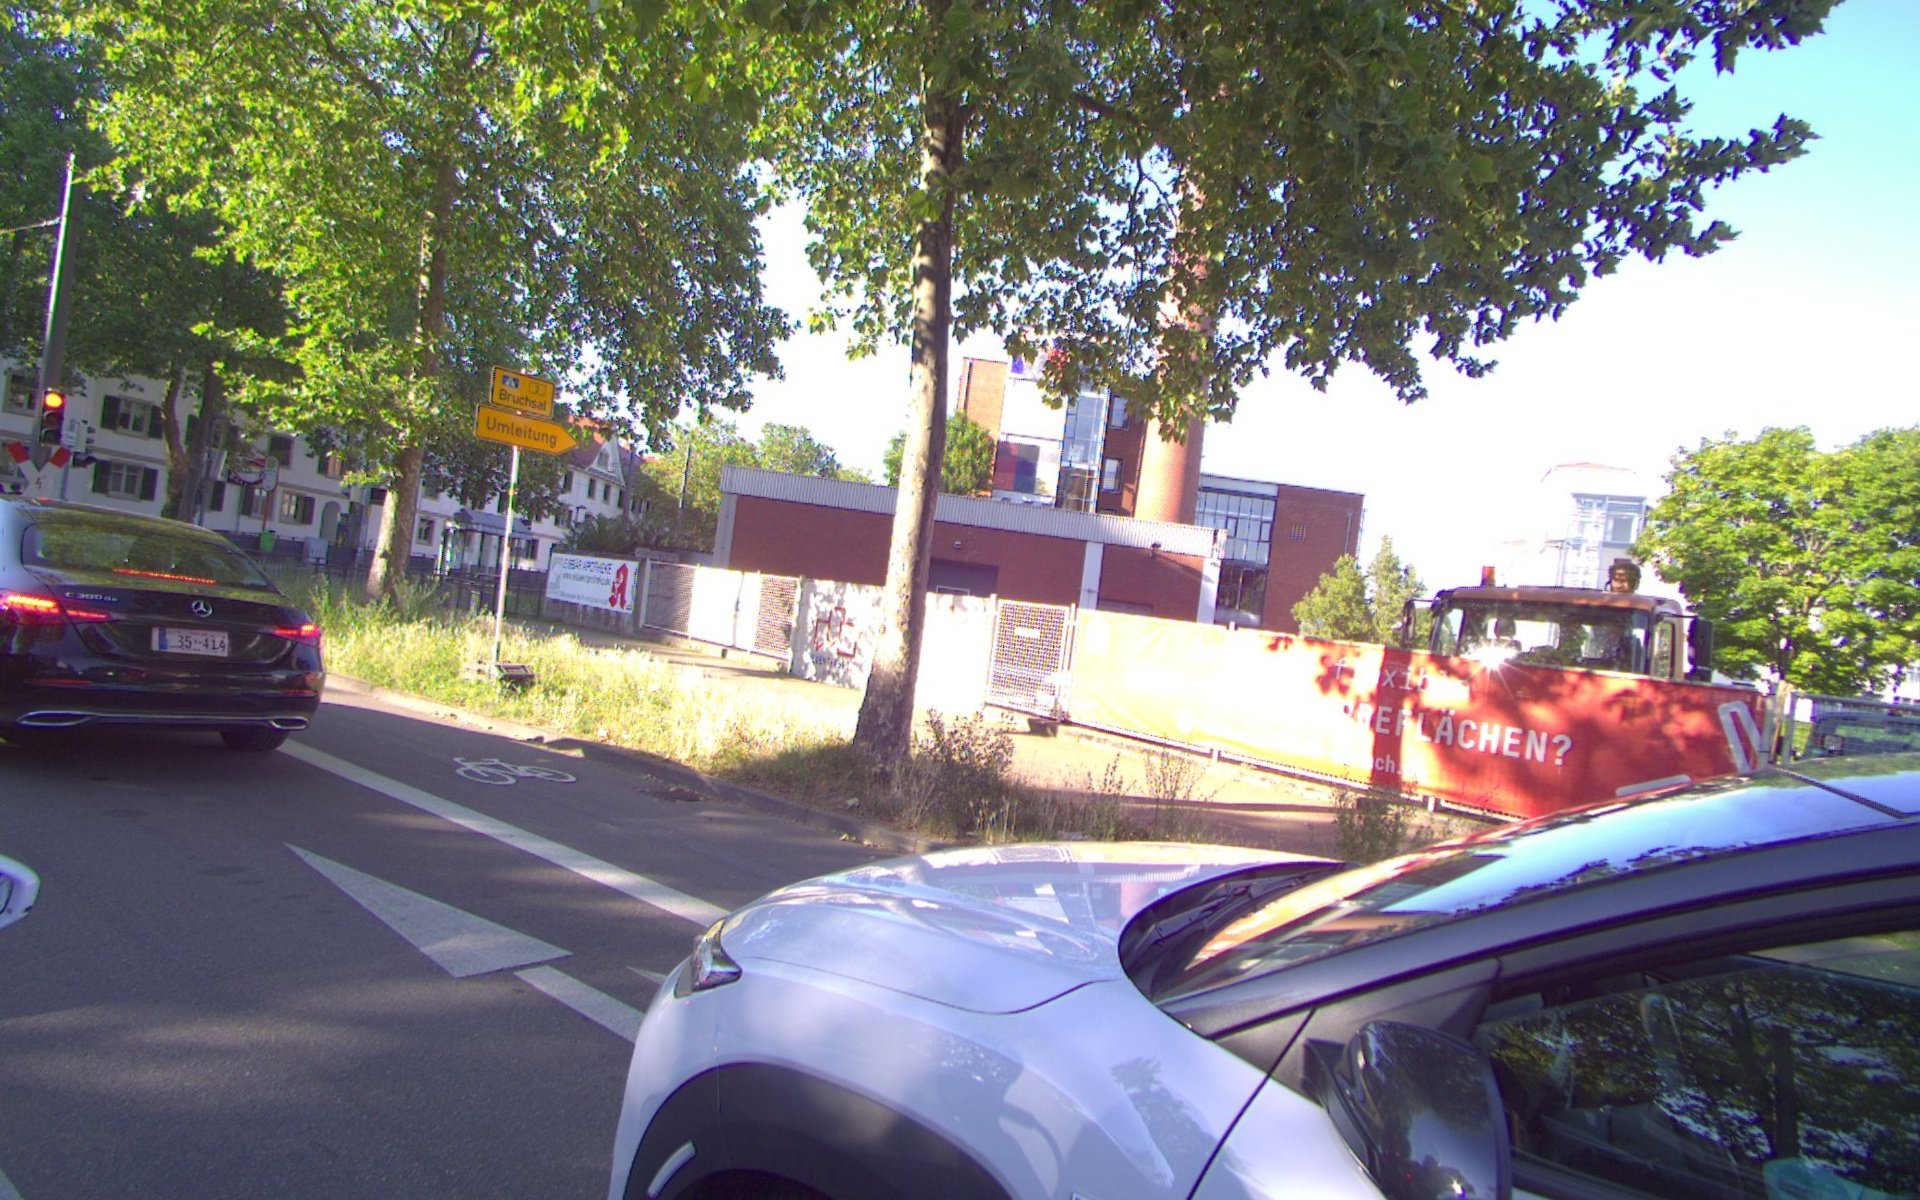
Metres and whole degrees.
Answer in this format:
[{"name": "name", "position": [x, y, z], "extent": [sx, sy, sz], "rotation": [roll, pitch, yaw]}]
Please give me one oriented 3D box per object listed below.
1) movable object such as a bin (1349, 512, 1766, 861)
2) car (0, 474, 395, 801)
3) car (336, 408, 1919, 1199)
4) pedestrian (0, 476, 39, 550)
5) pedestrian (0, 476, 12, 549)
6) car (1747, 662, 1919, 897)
[{"name": "movable object such as a bin", "position": [7.650, 1.034, 12.406], "extent": [3.172, 3.084, 6.266], "rotation": [6, -2, 41]}, {"name": "car", "position": [-5.964, 0.028, 6.691], "extent": [4.308, 1.508, 1.893], "rotation": [9, -1, 32]}, {"name": "car", "position": [1.203, 0.857, 1.284], "extent": [3.901, 1.616, 1.893], "rotation": [9, -1, 33]}, {"name": "pedestrian", "position": [-26.516, -2.431, 28.131], "extent": [0.825, 1.940, 0.707], "rotation": [7, -1, 28]}, {"name": "pedestrian", "position": [-26.113, -2.395, 26.912], "extent": [0.825, 1.940, 0.707], "rotation": [7, -1, 28]}, {"name": "car", "position": [9.579, 1.824, 10.149], "extent": [2.016, 1.849, 4.583], "rotation": [6, -3, 44]}]
